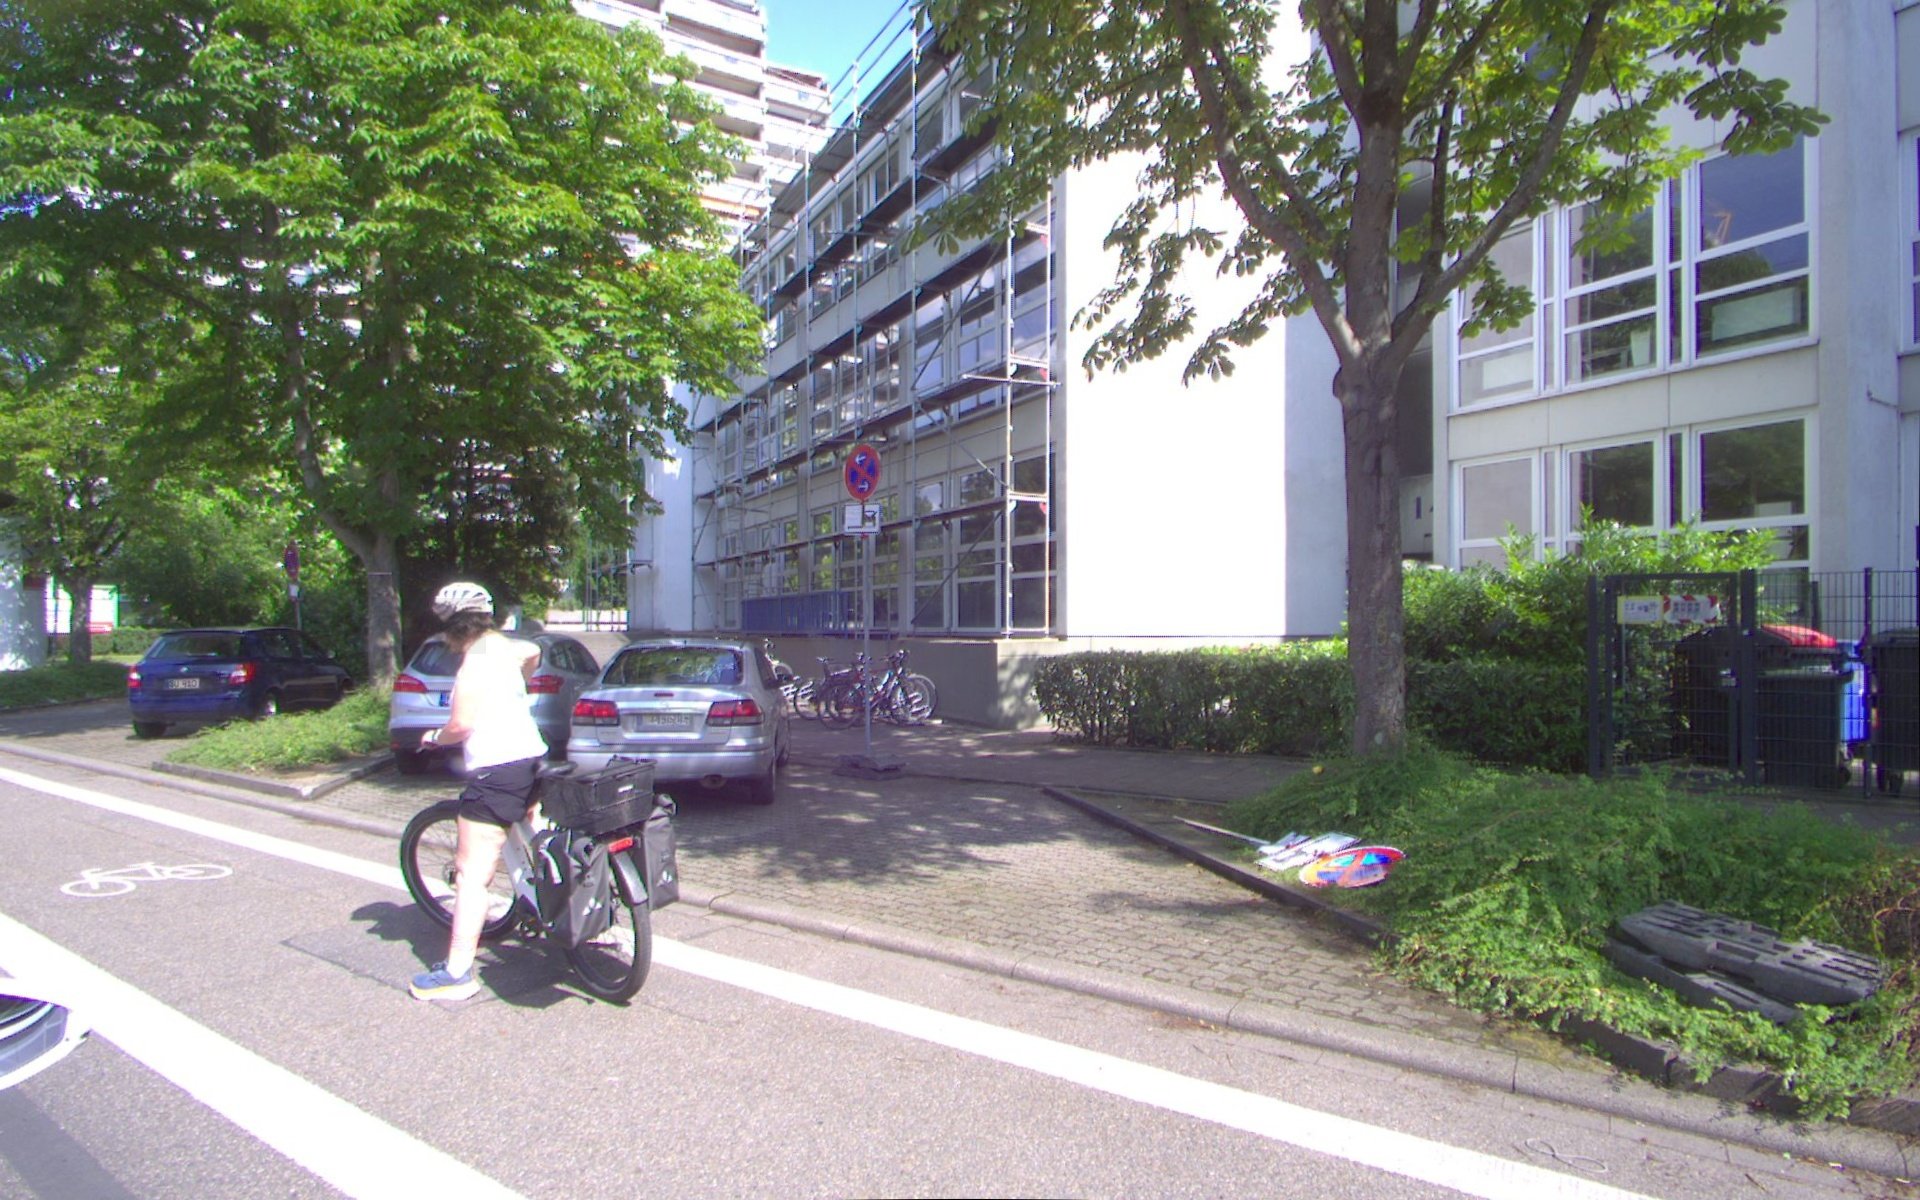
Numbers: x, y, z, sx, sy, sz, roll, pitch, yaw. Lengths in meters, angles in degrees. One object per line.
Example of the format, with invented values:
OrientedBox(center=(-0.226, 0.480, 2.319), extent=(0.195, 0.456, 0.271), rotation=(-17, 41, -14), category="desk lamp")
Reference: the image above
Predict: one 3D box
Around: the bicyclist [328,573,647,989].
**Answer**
OrientedBox(center=(-2.086, 0.704, 4.432), extent=(1.072, 1.548, 0.886), rotation=(-1, -3, 40), category="bicyclist")

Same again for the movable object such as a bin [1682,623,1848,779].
OrientedBox(center=(8.323, 1.007, 10.362), extent=(1.250, 1.500, 0.933), rotation=(2, -1, -29), category="movable object such as a bin")

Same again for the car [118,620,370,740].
OrientedBox(center=(-10.551, 1.079, 15.129), extent=(1.586, 1.505, 3.996), rotation=(-1, 0, -12), category="car")

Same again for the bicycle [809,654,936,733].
OrientedBox(center=(-1.300, 1.382, 15.064), extent=(1.872, 1.067, 0.449), rotation=(0, 1, -26), category="bicycle")

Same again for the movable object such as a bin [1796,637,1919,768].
OrientedBox(center=(10.625, 1.147, 11.630), extent=(1.200, 1.356, 1.252), rotation=(-1, 1, -41), category="movable object such as a bin")

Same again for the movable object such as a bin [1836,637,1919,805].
OrientedBox(center=(8.367, 1.008, 8.468), extent=(1.219, 1.352, 1.273), rotation=(-1, -3, 32), category="movable object such as a bin")

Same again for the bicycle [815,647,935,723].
OrientedBox(center=(-1.356, 1.350, 16.120), extent=(1.872, 1.110, 0.449), rotation=(0, 1, -26), category="bicycle")

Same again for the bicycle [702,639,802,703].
OrientedBox(center=(-3.909, 1.316, 18.854), extent=(1.804, 1.111, 0.449), rotation=(0, 3, -26), category="bicycle")

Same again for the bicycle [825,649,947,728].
OrientedBox(center=(-1.146, 1.361, 15.668), extent=(1.872, 1.110, 0.449), rotation=(0, 1, -26), category="bicycle")

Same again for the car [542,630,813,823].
OrientedBox(center=(-2.466, 1.037, 9.791), extent=(1.690, 1.438, 4.244), rotation=(1, -1, -4), category="car")

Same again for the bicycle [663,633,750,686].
OrientedBox(center=(-5.557, 1.291, 21.953), extent=(1.804, 1.110, 0.449), rotation=(0, 0, -26), category="bicycle")

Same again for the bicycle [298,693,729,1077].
OrientedBox(center=(-2.017, 1.045, 4.364), extent=(2.110, 1.140, 0.871), rotation=(-1, -1, 40), category="bicycle")

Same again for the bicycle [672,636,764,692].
OrientedBox(center=(-5.044, 1.315, 20.881), extent=(1.804, 1.110, 0.449), rotation=(1, 0, -26), category="bicycle")

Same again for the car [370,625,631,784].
OrientedBox(center=(-5.014, 1.079, 11.499), extent=(1.621, 1.493, 3.805), rotation=(2, -2, -7), category="car")
